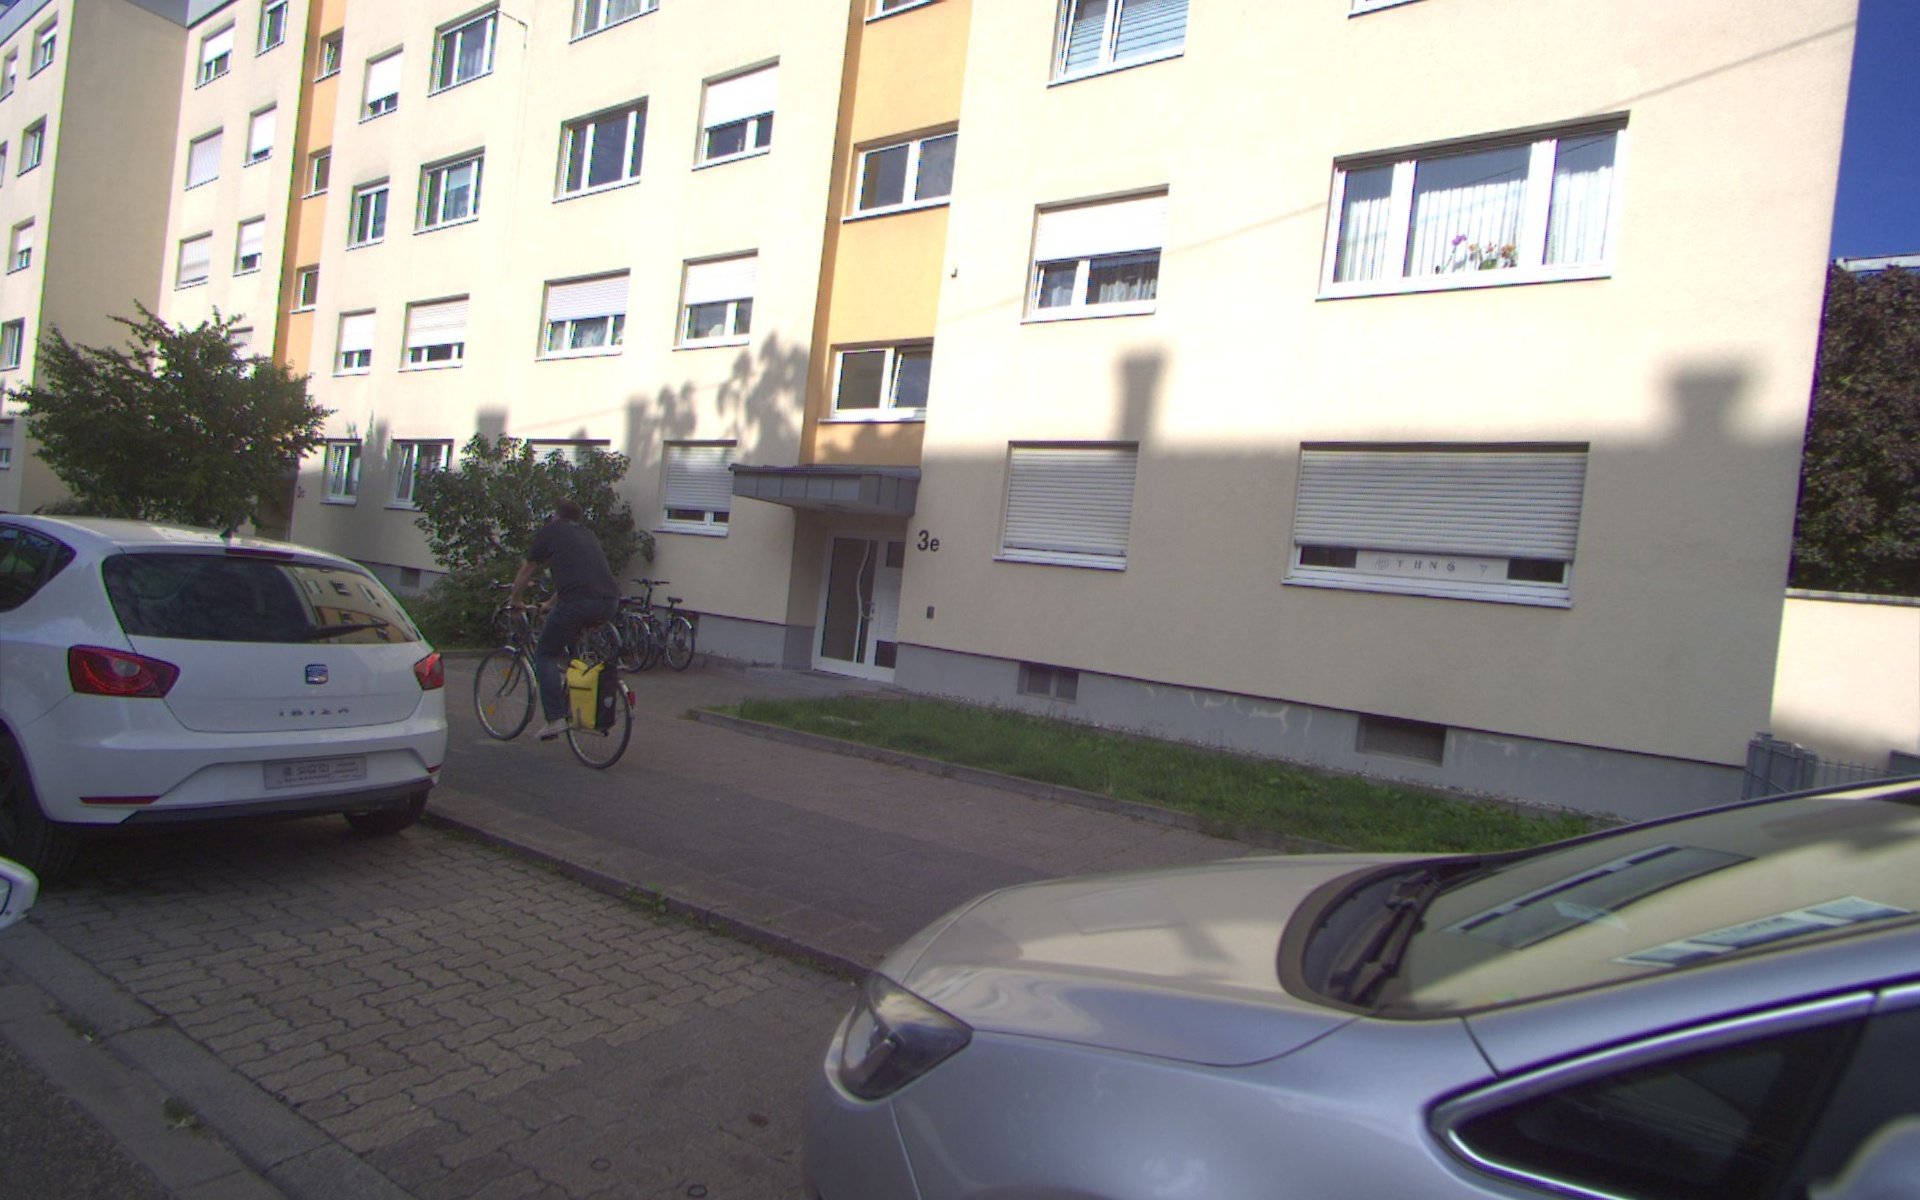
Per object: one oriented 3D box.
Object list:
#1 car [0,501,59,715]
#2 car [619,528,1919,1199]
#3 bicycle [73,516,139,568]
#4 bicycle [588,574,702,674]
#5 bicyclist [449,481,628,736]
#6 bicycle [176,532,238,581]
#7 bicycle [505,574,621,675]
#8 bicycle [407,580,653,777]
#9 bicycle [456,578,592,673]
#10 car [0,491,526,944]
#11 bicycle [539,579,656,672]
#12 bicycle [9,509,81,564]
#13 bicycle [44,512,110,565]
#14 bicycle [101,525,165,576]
[{"bbox_3d":[-8.533,-0.170,7.472,4.138,1.453,1.684,6,0,34],"label":"car"},{"bbox_3d":[1.683,0.898,1.330,4.259,1.543,1.764,6,0,33],"label":"car"},{"bbox_3d":[-19.704,-1.338,23.195,2.035,1.044,0.501,6,2,31],"label":"bicycle"},{"bbox_3d":[-4.355,0.321,13.878,1.565,1.231,0.522,5,0,31],"label":"bicycle"},{"bbox_3d":[-3.039,0.058,7.266,0.878,1.698,0.624,7,0,31],"label":"bicyclist"},{"bbox_3d":[-18.583,-1.082,24.813,2.099,1.044,0.501,6,3,32],"label":"bicycle"},{"bbox_3d":[-5.076,0.295,12.820,1.565,1.151,0.445,5,0,31],"label":"bicycle"},{"bbox_3d":[-3.164,0.529,7.326,1.897,1.148,0.524,6,0,31],"label":"bicycle"},{"bbox_3d":[-5.364,0.304,12.340,1.664,1.009,0.597,4,-2,31],"label":"bicycle"},{"bbox_3d":[-4.362,0.262,5.083,4.133,1.486,1.686,6,0,28],"label":"car"},{"bbox_3d":[-4.809,0.325,13.309,1.565,1.088,0.522,4,0,31],"label":"bicycle"},{"bbox_3d":[-20.193,-1.402,22.186,2.084,1.044,0.593,6,2,31],"label":"bicycle"},{"bbox_3d":[-19.974,-1.396,22.748,2.061,1.044,0.501,6,2,31],"label":"bicycle"},{"bbox_3d":[-19.437,-1.177,23.630,1.992,1.044,0.501,6,2,31],"label":"bicycle"}]
